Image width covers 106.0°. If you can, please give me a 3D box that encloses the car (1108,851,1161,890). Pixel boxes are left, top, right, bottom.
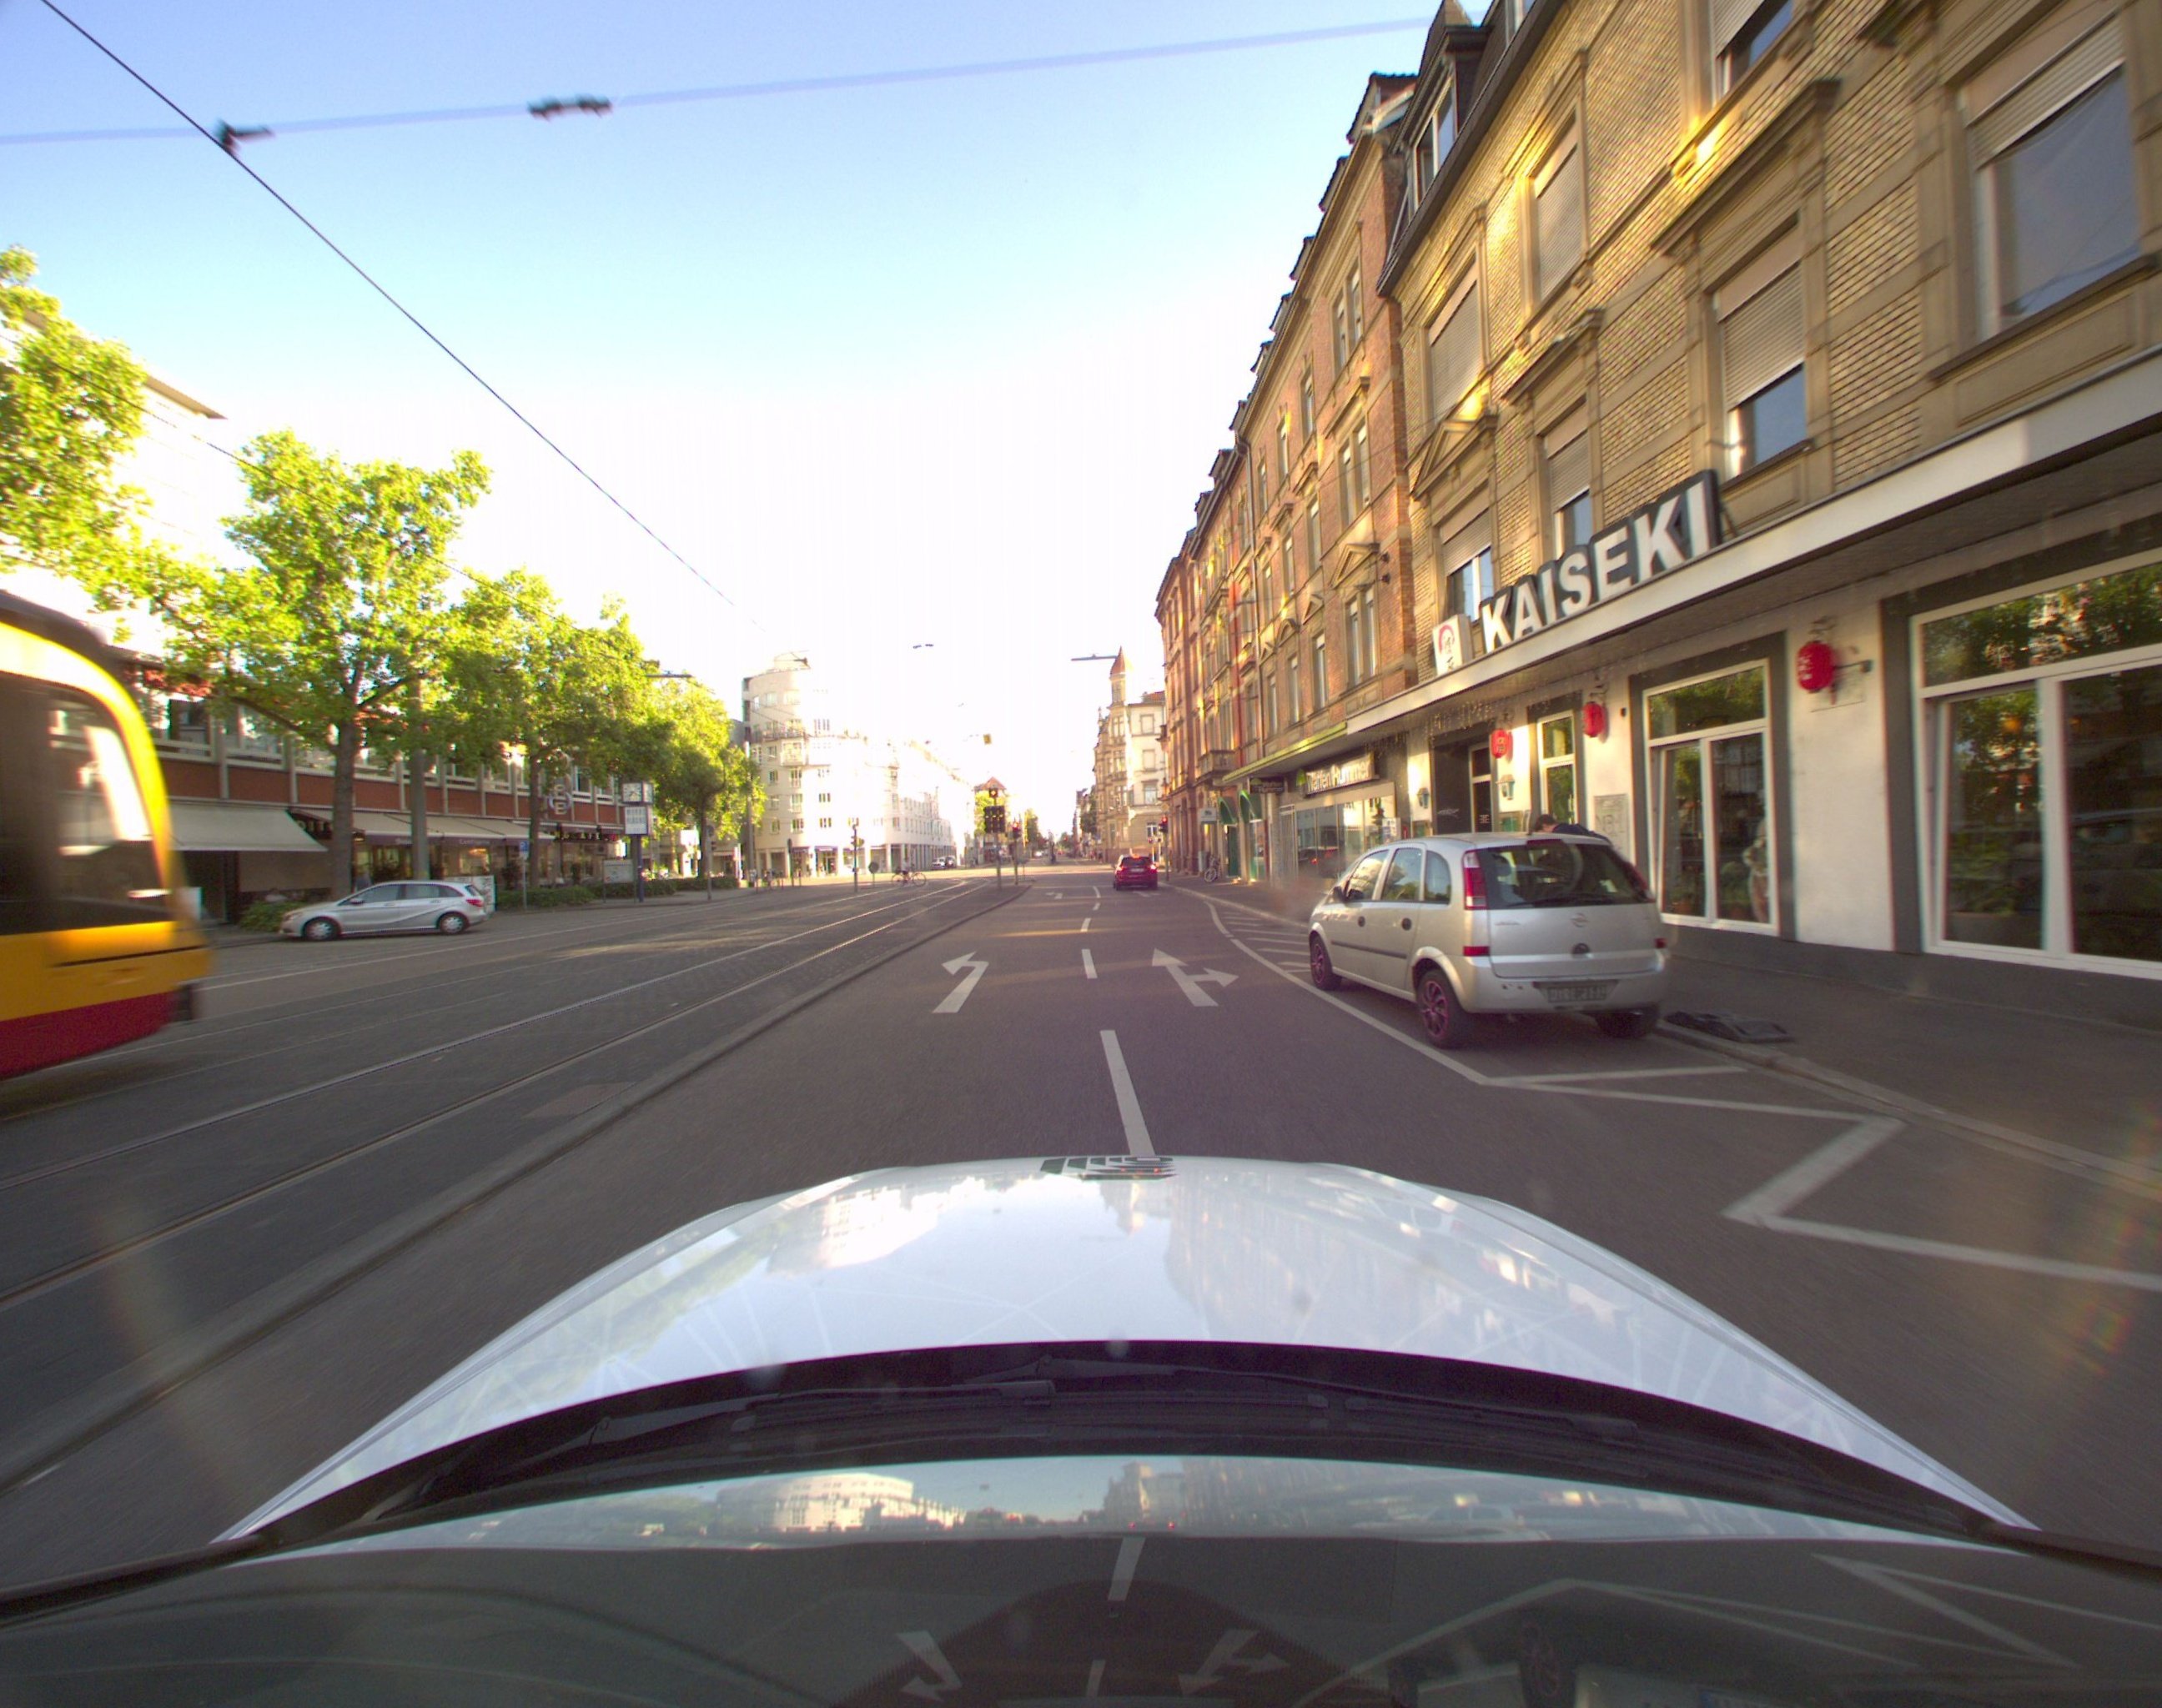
[{"bbox_3d":[2.164,0.646,34.113,1.750,1.466,3.941,-1,0,-3],"label":"car"}]

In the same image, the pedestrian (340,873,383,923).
[{"bbox_3d":[-25.567,1.552,28.939,0.702,1.722,0.874,-1,1,-2],"label":"pedestrian"}]

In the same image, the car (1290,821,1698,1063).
[{"bbox_3d":[3.389,0.599,7.627,1.634,1.615,3.941,-2,0,-3],"label":"car"}]

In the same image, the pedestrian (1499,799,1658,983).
[{"bbox_3d":[5.277,0.364,8.714,0.944,1.792,1.054,-4,0,-2],"label":"pedestrian"}]

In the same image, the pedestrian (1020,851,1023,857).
[{"bbox_3d":[-16.352,-0.105,225.335,0.630,1.604,0.575,-3,0,-18],"label":"pedestrian"}]

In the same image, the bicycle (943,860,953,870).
[{"bbox_3d":[-16.558,1.370,101.495,0.805,1.147,2.048,-3,0,-1],"label":"bicycle"}]

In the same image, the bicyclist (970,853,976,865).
[{"bbox_3d":[-17.032,0.791,128.387,0.805,1.821,0.993,-3,0,-1],"label":"bicyclist"}]

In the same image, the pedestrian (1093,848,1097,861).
[{"bbox_3d":[2.345,0.095,135.781,0.644,2.013,0.683,-2,0,-2],"label":"pedestrian"}]

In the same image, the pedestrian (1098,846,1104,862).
[{"bbox_3d":[2.607,-0.022,105.642,0.649,2.013,0.759,-2,0,-2],"label":"pedestrian"}]

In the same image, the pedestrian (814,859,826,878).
[{"bbox_3d":[-28.169,1.567,87.973,0.950,2.013,0.931,-3,0,-29],"label":"pedestrian"}]

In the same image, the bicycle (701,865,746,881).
[{"bbox_3d":[-41.372,2.215,94.182,4.685,1.530,1.067,-3,0,1],"label":"bicycle"}]

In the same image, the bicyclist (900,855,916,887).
[{"bbox_3d":[-8.977,0.883,42.281,0.729,1.627,0.763,-2,0,-9],"label":"bicyclist"}]

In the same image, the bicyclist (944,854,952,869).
[{"bbox_3d":[-16.579,0.946,101.601,0.805,1.726,0.794,-3,0,-1],"label":"bicyclist"}]

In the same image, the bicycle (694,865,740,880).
[{"bbox_3d":[-41.363,2.086,92.630,4.685,1.530,1.067,-3,0,1],"label":"bicycle"}]

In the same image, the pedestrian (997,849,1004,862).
[{"bbox_3d":[-12.990,0.235,131.632,1.043,2.013,0.958,-3,0,-4],"label":"pedestrian"}]

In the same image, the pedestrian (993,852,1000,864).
[{"bbox_3d":[-13.999,0.618,134.790,1.043,2.013,0.958,-3,0,-4],"label":"pedestrian"}]

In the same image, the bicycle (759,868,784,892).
[{"bbox_3d":[-17.982,1.503,47.374,0.668,1.327,1.907,0,0,1],"label":"bicycle"}]

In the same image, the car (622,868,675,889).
[{"bbox_3d":[-38.631,2.200,72.812,3.978,1.559,1.635,-3,0,11],"label":"car"}]

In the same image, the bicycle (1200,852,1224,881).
[{"bbox_3d":[5.723,0.540,35.504,0.710,1.152,1.662,-4,0,17],"label":"bicycle"}]

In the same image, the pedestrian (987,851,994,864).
[{"bbox_3d":[-14.362,0.537,128.851,0.953,2.013,1.048,-3,0,-1],"label":"pedestrian"}]

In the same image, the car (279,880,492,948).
[{"bbox_3d":[-19.247,1.597,22.821,4.296,1.566,1.808,-1,-1,-33],"label":"car"}]

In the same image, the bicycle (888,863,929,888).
[{"bbox_3d":[-9.035,1.114,42.674,2.017,1.177,0.626,-2,0,-9],"label":"bicycle"}]

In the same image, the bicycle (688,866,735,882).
[{"bbox_3d":[-41.512,2.226,91.492,4.685,1.530,1.067,-3,0,1],"label":"bicycle"}]

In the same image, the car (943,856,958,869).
[{"bbox_3d":[-19.169,1.209,119.749,1.696,1.718,3.562,-3,0,-2],"label":"car"}]

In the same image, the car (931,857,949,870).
[{"bbox_3d":[-18.732,1.296,108.403,1.760,1.546,3.460,-3,0,-1],"label":"car"}]

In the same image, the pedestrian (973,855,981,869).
[{"bbox_3d":[-12.937,0.996,101.332,0.766,1.730,0.573,-2,0,0],"label":"pedestrian"}]

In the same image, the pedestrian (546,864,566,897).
[{"bbox_3d":[-28.469,1.427,44.169,0.642,1.722,0.603,-1,1,17],"label":"pedestrian"}]

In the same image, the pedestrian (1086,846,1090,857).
[{"bbox_3d":[1.273,-0.402,149.055,0.574,2.013,0.631,-3,0,5],"label":"pedestrian"}]
